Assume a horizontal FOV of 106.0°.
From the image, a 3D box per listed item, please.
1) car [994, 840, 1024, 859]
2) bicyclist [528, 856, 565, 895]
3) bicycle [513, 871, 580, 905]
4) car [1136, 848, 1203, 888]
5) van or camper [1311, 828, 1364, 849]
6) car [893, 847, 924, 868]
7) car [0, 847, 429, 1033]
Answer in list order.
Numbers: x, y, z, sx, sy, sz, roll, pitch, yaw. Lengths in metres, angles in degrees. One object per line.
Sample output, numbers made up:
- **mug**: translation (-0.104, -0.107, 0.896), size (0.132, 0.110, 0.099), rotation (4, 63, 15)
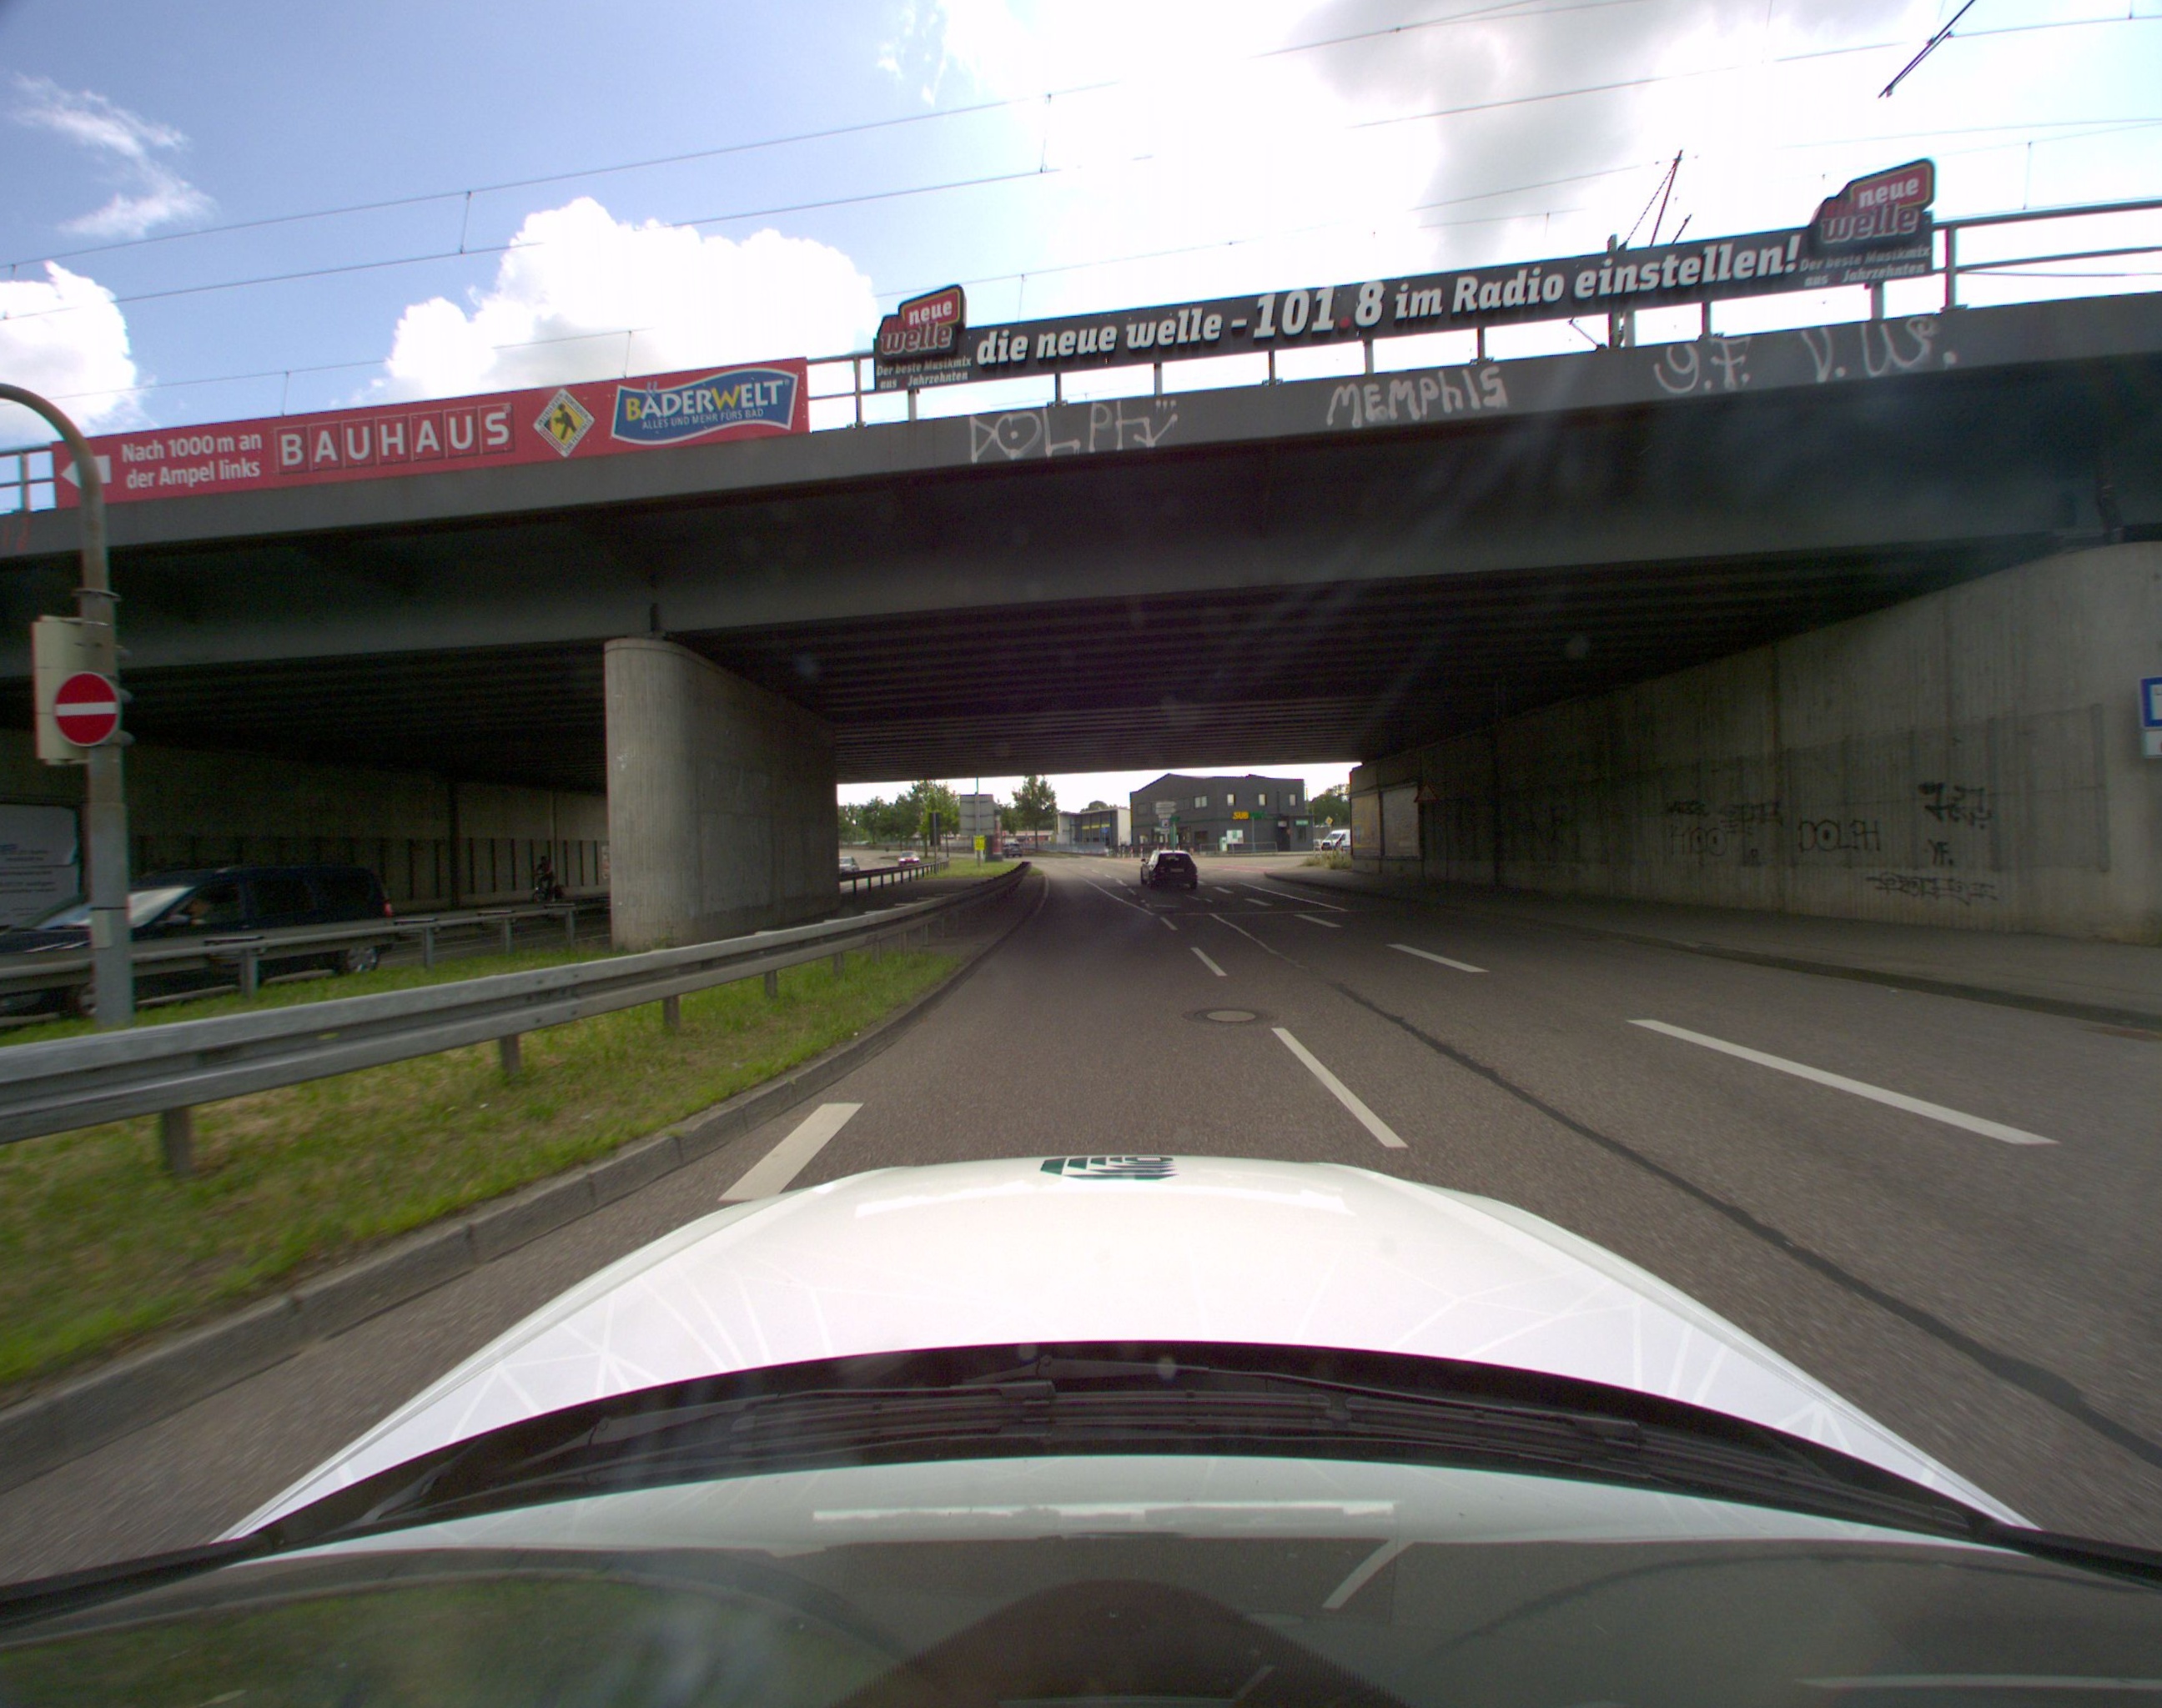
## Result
- **car**: translation (-8.043, -0.490, 90.514), size (2.002, 2.037, 4.677), rotation (-2, 0, -22)
- **bicyclist**: translation (-19.551, 0.789, 29.777), size (0.677, 1.408, 0.927), rotation (-1, -1, 9)
- **bicycle**: translation (-19.540, 1.213, 29.828), size (0.676, 1.143, 2.289), rotation (-1, 0, 9)
- **car**: translation (3.384, 0.495, 31.931), size (1.988, 1.390, 4.572), rotation (0, 1, -2)
- **van or camper**: translation (27.822, -1.686, 88.161), size (6.274, 2.173, 2.103), rotation (0, -1, -35)
- **car**: translation (-14.476, 0.268, 68.598), size (1.990, 1.675, 4.315), rotation (-2, 0, -5)
- **car**: translation (-11.004, 0.845, 10.080), size (1.987, 1.759, 4.716), rotation (-2, 0, 0)
